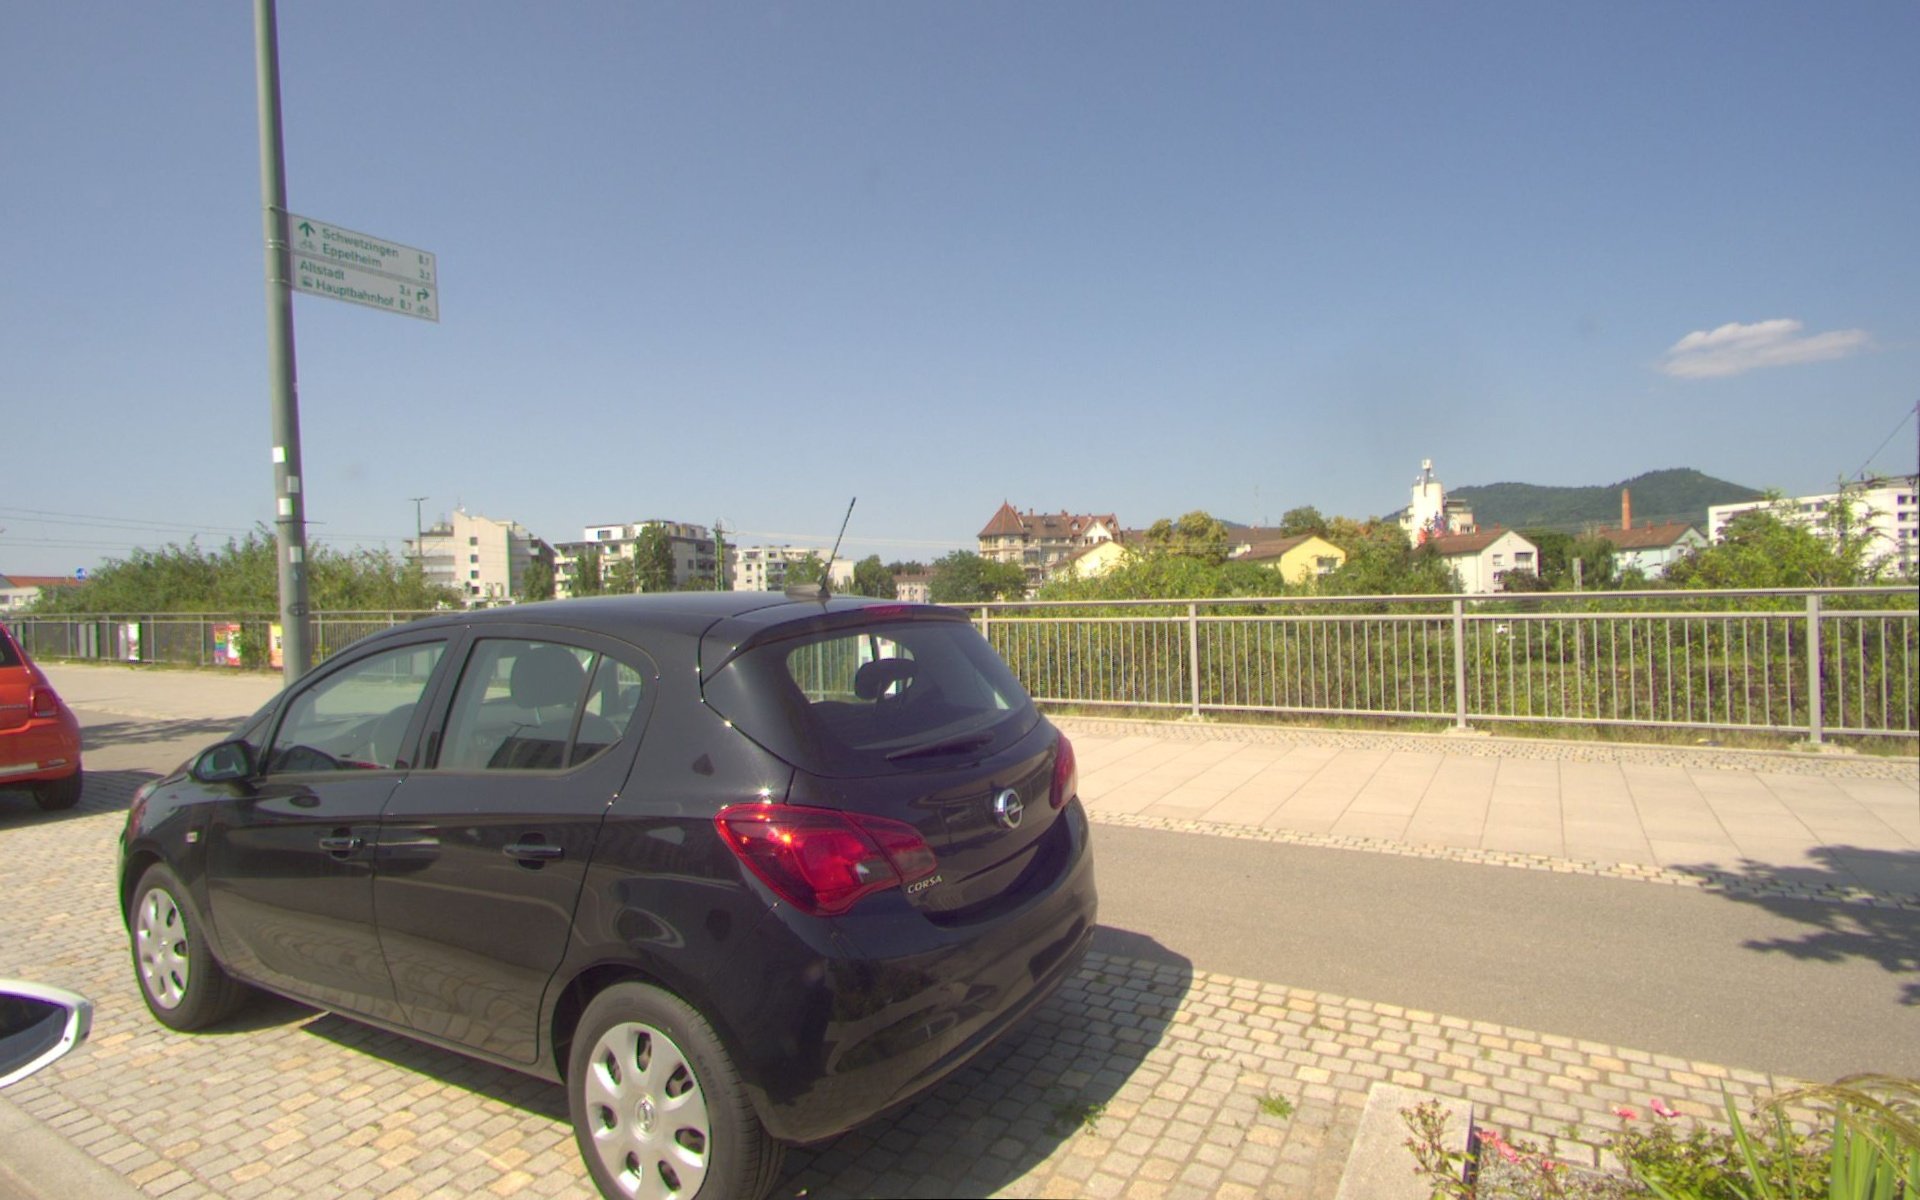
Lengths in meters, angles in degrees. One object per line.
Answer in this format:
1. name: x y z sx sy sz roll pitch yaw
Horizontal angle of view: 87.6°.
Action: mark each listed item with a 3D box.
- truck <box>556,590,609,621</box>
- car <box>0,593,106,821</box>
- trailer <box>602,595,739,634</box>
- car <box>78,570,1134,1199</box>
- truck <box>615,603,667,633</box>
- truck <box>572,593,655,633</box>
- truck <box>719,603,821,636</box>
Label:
1. truck: -33.624 0.540 89.224 1.964 2.572 4.704 -1 -2 17
2. car: -8.358 0.773 7.772 3.863 1.560 1.664 -1 1 35
3. trailer: -26.829 1.548 94.559 3.674 3.243 17.244 -1 -3 17
4. car: -1.342 0.740 3.476 3.495 1.577 1.577 -1 2 32
5. truck: -32.930 1.905 103.465 2.081 2.919 5.866 -1 -2 19
6. truck: -29.536 1.179 85.652 3.672 3.244 6.485 -1 -2 17
7. truck: -21.227 2.369 114.016 3.674 3.243 17.876 -1 -3 17
